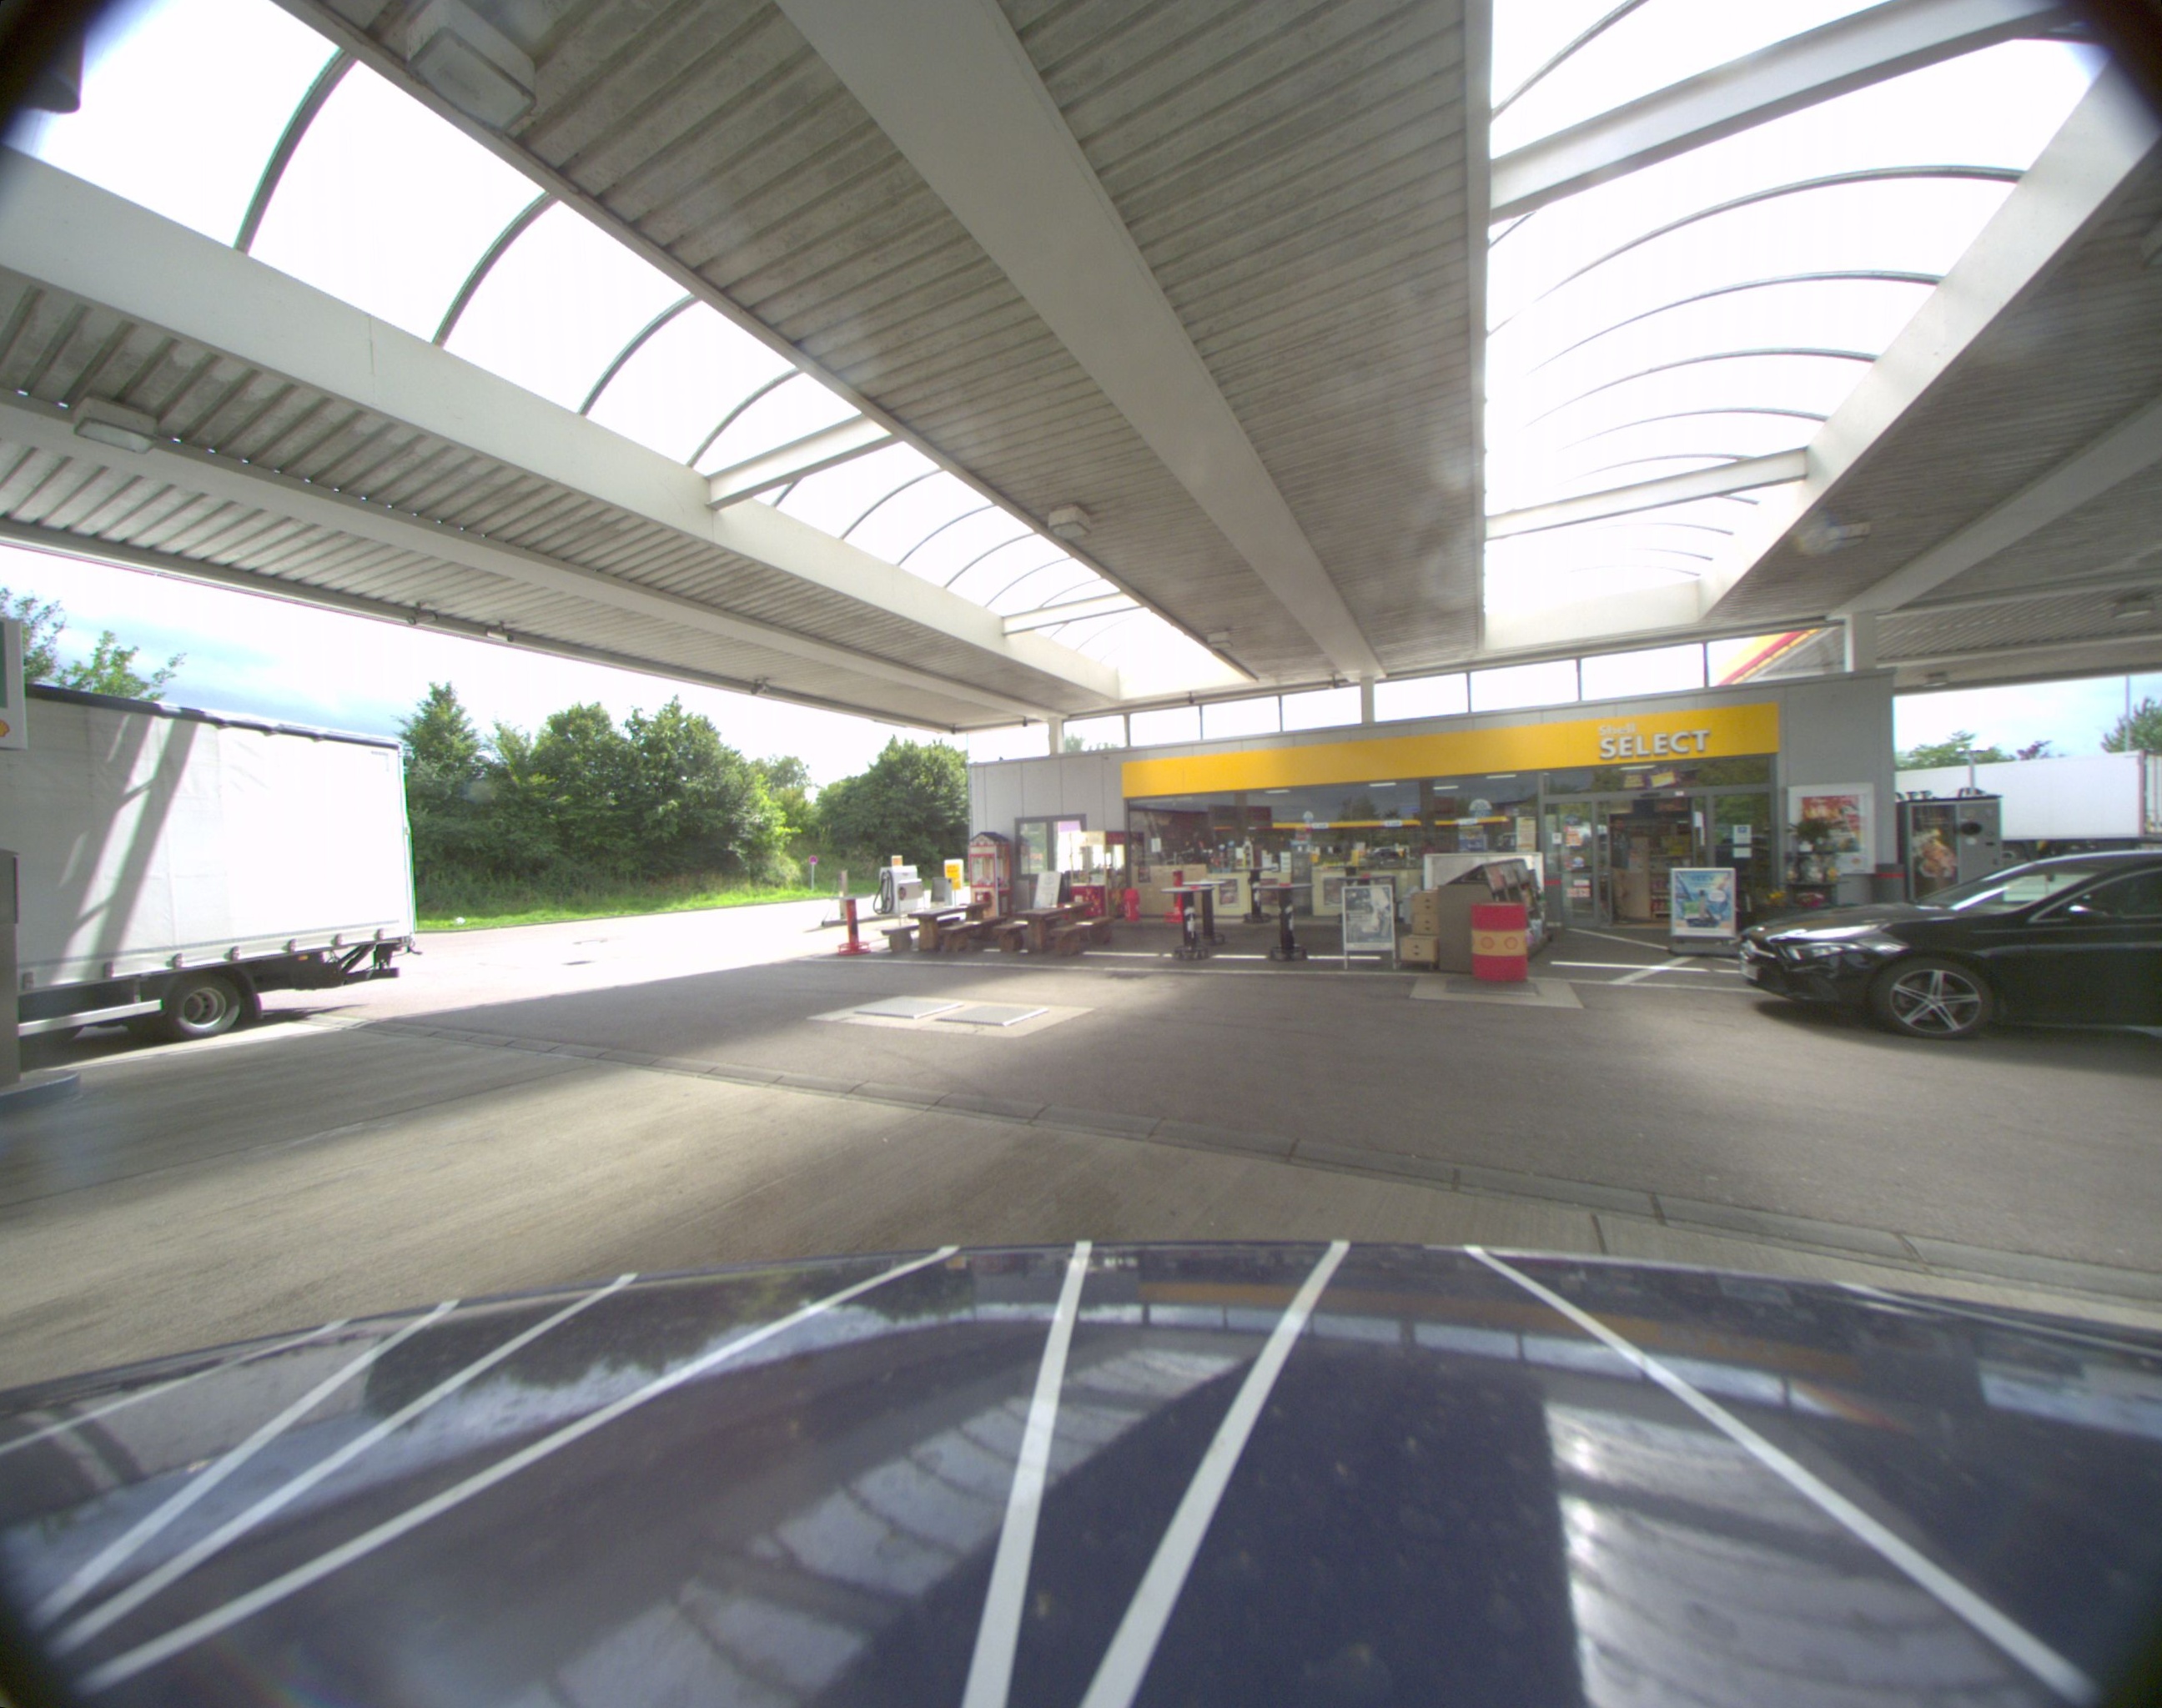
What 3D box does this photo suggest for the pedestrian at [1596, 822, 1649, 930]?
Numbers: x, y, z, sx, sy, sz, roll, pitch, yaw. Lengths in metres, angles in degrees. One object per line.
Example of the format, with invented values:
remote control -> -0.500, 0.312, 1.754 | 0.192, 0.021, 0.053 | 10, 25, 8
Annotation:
pedestrian -> 9.762, 0.390, 13.704 | 0.580, 1.895, 0.509 | -2, 1, 11

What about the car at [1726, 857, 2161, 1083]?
car -> 8.136, 0.810, 5.908 | 4.461, 1.491, 1.782 | -2, 1, 28

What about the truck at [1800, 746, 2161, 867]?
truck -> 35.132, -1.620, 30.069 | 2.796, 3.982, 9.578 | -3, 1, -16

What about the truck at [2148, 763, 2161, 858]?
truck -> 51.480, -2.048, 33.149 | 3.383, 4.479, 6.239 | -2, 1, 29
